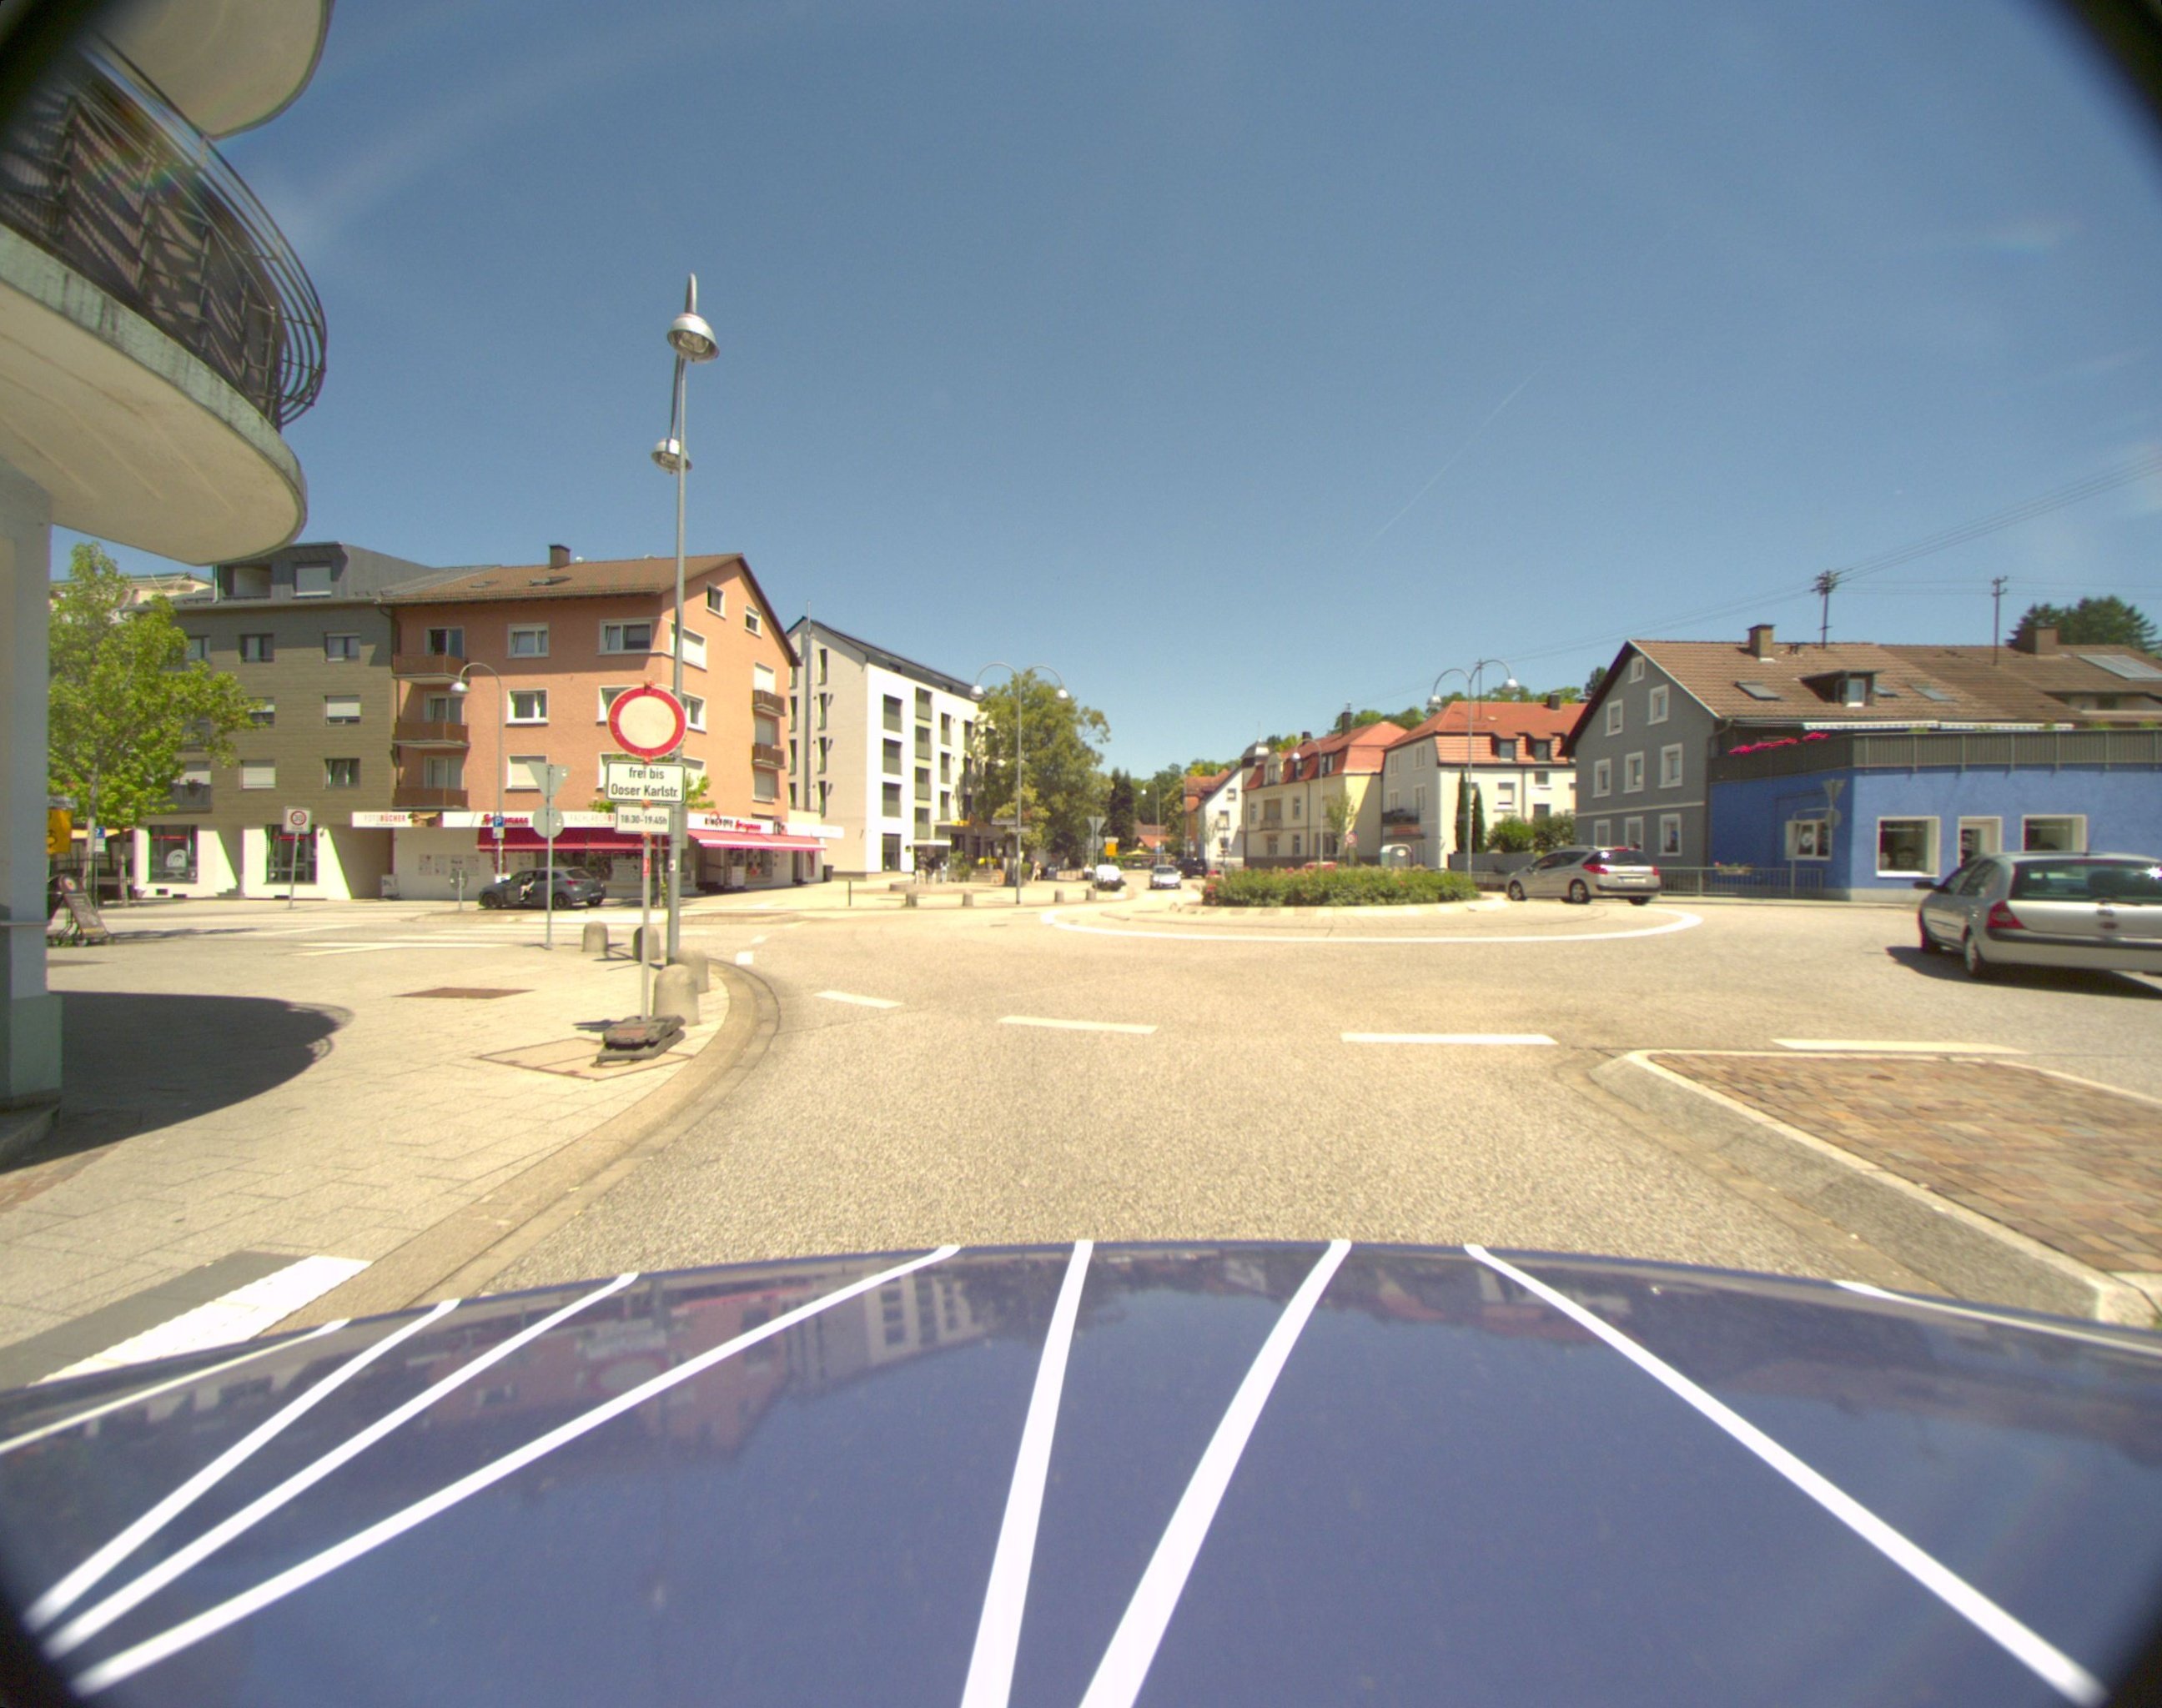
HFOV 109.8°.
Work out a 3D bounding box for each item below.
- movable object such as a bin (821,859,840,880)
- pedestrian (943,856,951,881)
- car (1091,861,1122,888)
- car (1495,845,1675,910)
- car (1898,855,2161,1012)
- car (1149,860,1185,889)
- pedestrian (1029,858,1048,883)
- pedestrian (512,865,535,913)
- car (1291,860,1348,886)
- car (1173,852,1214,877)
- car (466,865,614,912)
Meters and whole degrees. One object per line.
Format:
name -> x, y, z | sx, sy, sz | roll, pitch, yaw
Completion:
movable object such as a bin -> -14.892, 0.905, 45.152 | 0.746, 1.245, 0.838 | 0, 0, 10
pedestrian -> -8.914, 0.969, 50.606 | 0.449, 1.609, 0.451 | 0, 0, 6
car -> 1.517, 1.216, 45.673 | 1.795, 1.515, 4.000 | 0, 0, 1
car -> 12.920, 0.568, 19.847 | 1.745, 1.507, 4.207 | 1, 0, -3
car -> 11.028, 0.754, 8.754 | 1.545, 1.404, 3.726 | 3, 2, 38
car -> 5.241, 1.247, 46.909 | 1.998, 1.646, 4.205 | 0, 0, 4
pedestrian -> -2.814, 1.085, 50.743 | 0.816, 1.639, 0.953 | 0, 0, 38
pedestrian -> -18.939, 1.189, 25.804 | 0.560, 1.600, 0.732 | 0, 0, -41
car -> 14.168, 1.092, 45.352 | 1.609, 1.384, 4.075 | -3, 0, -8
car -> 9.934, 0.892, 67.485 | 2.001, 2.002, 3.992 | -1, 2, -18
car -> -18.917, 1.196, 26.672 | 4.056, 1.478, 1.672 | 0, 3, 5
